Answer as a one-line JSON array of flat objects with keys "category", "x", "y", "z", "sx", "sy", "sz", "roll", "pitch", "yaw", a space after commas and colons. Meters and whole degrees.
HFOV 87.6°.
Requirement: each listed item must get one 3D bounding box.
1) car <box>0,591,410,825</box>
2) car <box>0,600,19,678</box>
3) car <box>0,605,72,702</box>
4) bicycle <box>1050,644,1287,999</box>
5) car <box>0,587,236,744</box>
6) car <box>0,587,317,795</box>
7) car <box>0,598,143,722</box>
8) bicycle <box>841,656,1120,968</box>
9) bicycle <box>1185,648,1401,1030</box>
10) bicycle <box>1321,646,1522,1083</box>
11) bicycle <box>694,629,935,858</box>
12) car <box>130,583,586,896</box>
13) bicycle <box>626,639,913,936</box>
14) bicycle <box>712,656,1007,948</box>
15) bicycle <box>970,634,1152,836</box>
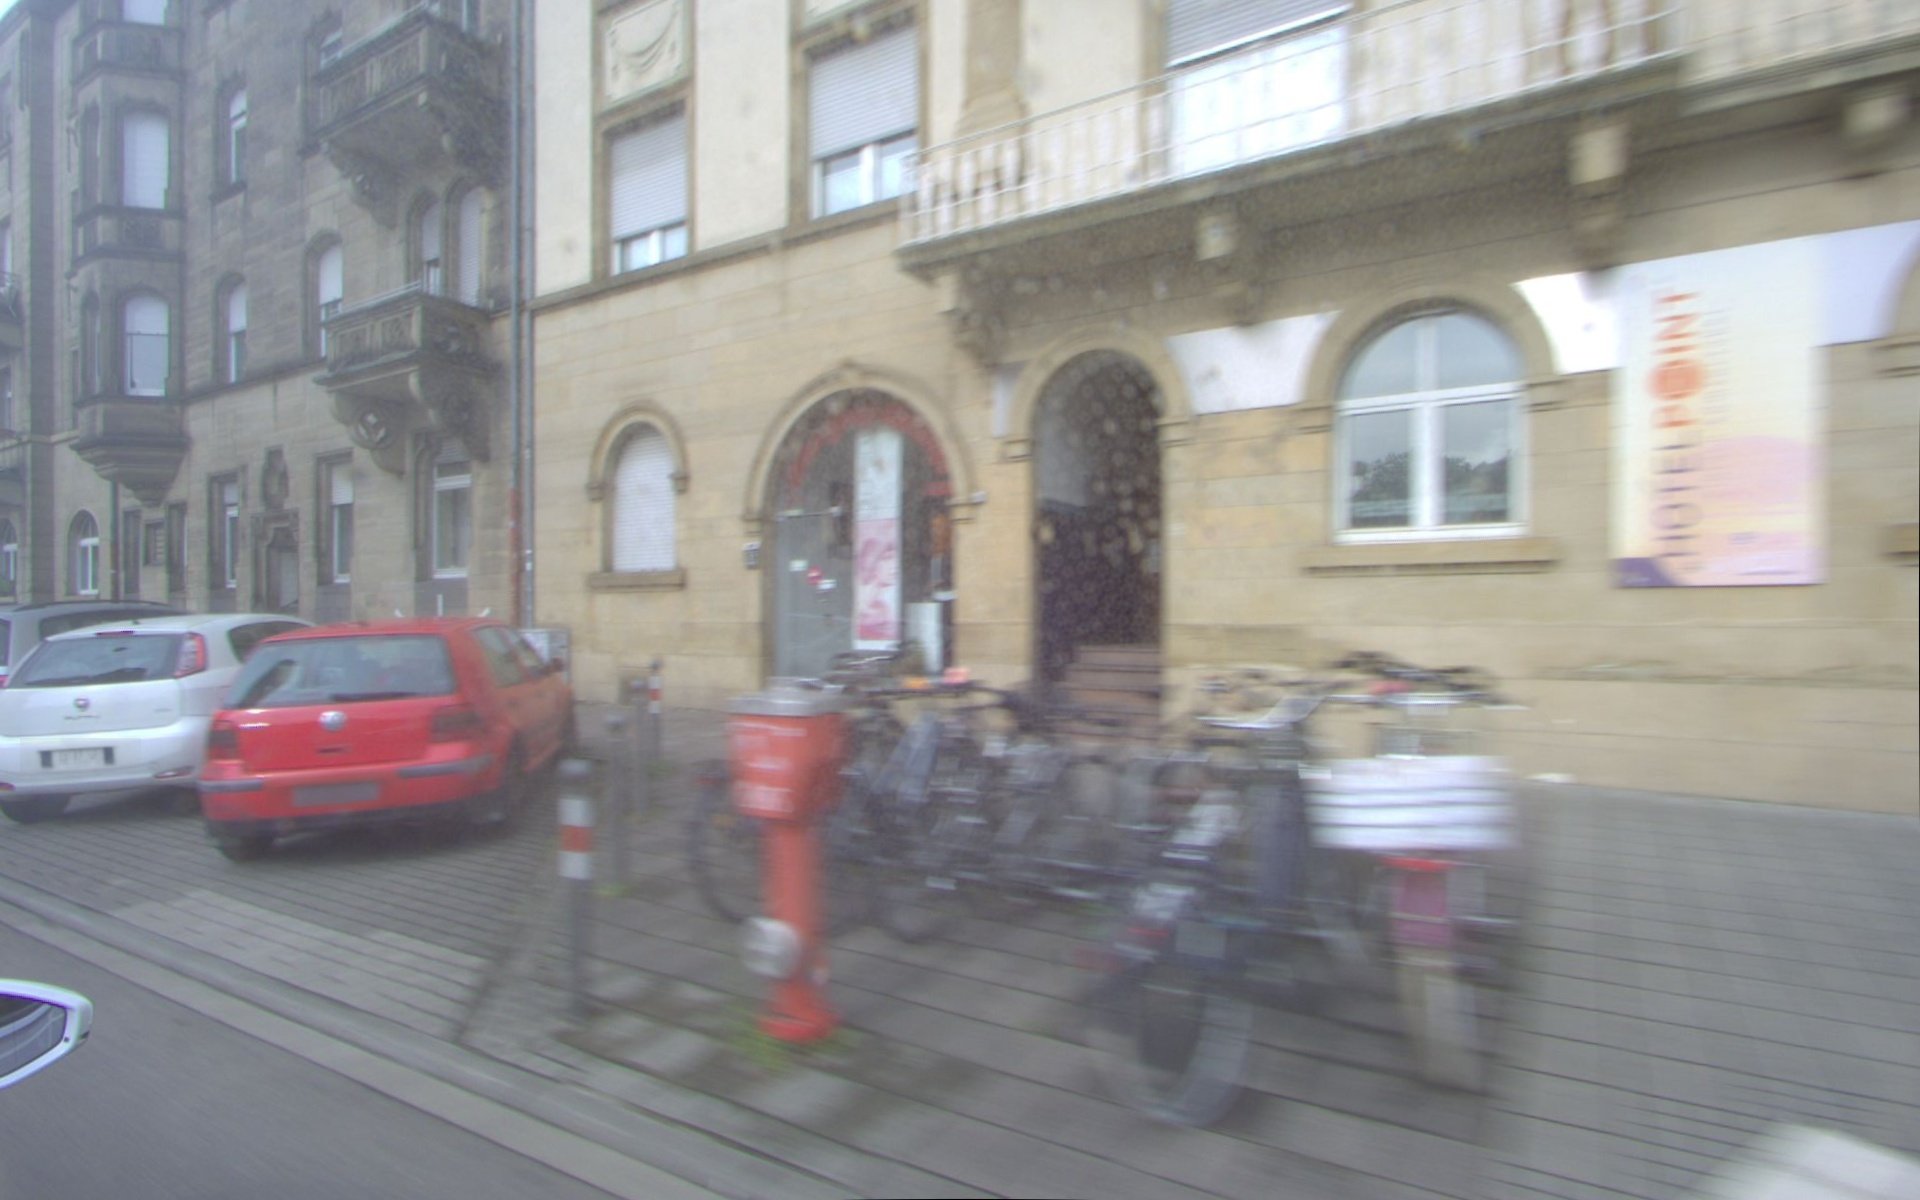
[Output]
[{"category": "car", "x": -6.574, "y": 0.754, "z": 8.842, "sx": 1.814, "sy": 1.529, "sz": 3.583, "roll": -2, "pitch": 2, "yaw": -9}, {"category": "car", "x": -19.098, "y": 0.846, "z": 17.316, "sx": 1.993, "sy": 1.474, "sz": 4.066, "roll": -1, "pitch": 3, "yaw": -6}, {"category": "car", "x": -16.461, "y": 0.876, "z": 15.464, "sx": 1.816, "sy": 1.573, "sz": 4.463, "roll": 0, "pitch": 0, "yaw": -6}, {"category": "bicycle", "x": 0.963, "y": 0.814, "z": 4.304, "sx": 0.469, "sy": 1.142, "sz": 1.563, "roll": -1, "pitch": 2, "yaw": 31}, {"category": "car", "x": -11.478, "y": 0.715, "z": 12.284, "sx": 1.899, "sy": 1.708, "sz": 4.750, "roll": -1, "pitch": 1, "yaw": -4}, {"category": "car", "x": -8.842, "y": 0.753, "z": 10.204, "sx": 1.879, "sy": 1.705, "sz": 4.224, "roll": -1, "pitch": 0, "yaw": -1}, {"category": "car", "x": -13.843, "y": 0.838, "z": 13.864, "sx": 1.714, "sy": 1.595, "sz": 4.461, "roll": 0, "pitch": 2, "yaw": -6}, {"category": "bicycle", "x": 0.184, "y": 0.857, "z": 4.678, "sx": 0.469, "sy": 1.053, "sz": 1.729, "roll": -1, "pitch": 2, "yaw": 31}, {"category": "bicycle", "x": 1.414, "y": 0.822, "z": 4.068, "sx": 0.469, "sy": 1.142, "sz": 1.563, "roll": -1, "pitch": 2, "yaw": 31}, {"category": "bicycle", "x": 1.740, "y": 0.797, "z": 3.654, "sx": 0.469, "sy": 1.142, "sz": 1.563, "roll": -1, "pitch": 2, "yaw": 31}, {"category": "bicycle", "x": -0.869, "y": 0.834, "z": 6.504, "sx": 0.488, "sy": 1.188, "sz": 1.775, "roll": -1, "pitch": 2, "yaw": 31}, {"category": "car", "x": -4.017, "y": 0.725, "z": 7.485, "sx": 1.762, "sy": 1.583, "sz": 3.827, "roll": -3, "pitch": 3, "yaw": -13}, {"category": "bicycle", "x": -0.892, "y": 0.844, "z": 5.112, "sx": 0.469, "sy": 1.188, "sz": 1.563, "roll": -1, "pitch": 2, "yaw": 31}, {"category": "bicycle", "x": -0.401, "y": 0.874, "z": 4.945, "sx": 0.469, "sy": 1.053, "sz": 1.729, "roll": -1, "pitch": 2, "yaw": 31}, {"category": "bicycle", "x": 0.723, "y": 0.809, "z": 6.623, "sx": 0.469, "sy": 1.053, "sz": 1.729, "roll": -1, "pitch": 2, "yaw": 31}]
